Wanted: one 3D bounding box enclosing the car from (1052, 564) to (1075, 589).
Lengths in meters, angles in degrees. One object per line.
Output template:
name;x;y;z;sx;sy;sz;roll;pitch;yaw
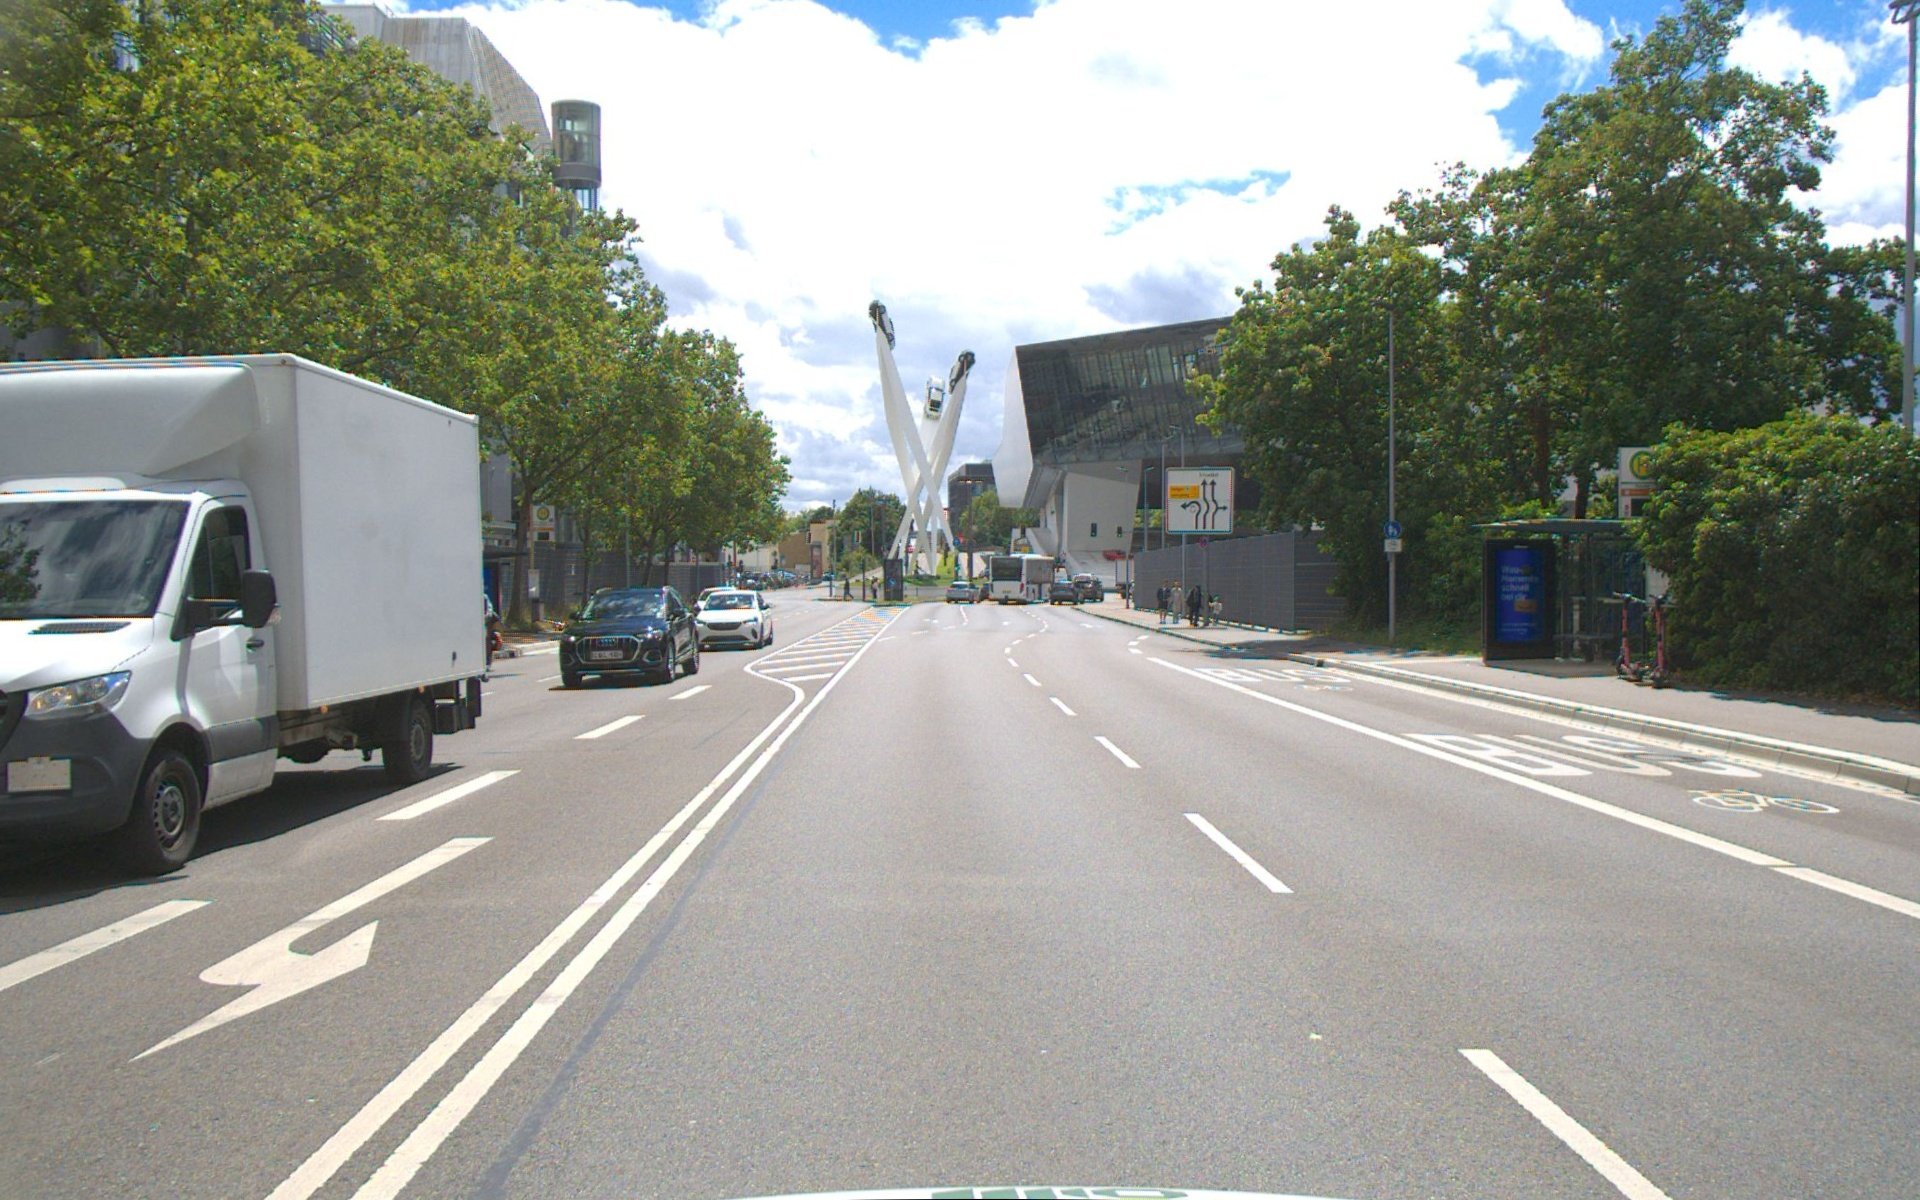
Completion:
car;9.622;-2.142;154.148;1.952;2.209;4.657;1;0;2

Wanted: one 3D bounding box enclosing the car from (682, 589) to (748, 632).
car;-9.523;0.372;64.556;1.839;1.532;4.191;-2;1;1

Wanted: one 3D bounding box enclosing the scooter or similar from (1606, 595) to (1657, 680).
scooter or similar;10.041;0.540;24.697;0.531;1.183;2.126;-1;0;26

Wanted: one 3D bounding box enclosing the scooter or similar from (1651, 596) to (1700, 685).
scooter or similar;10.119;0.556;23.360;0.531;1.183;1.790;-1;0;26

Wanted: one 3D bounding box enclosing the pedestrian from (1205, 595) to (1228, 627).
pedestrian;9.607;0.406;62.042;0.742;1.169;0.972;1;0;3

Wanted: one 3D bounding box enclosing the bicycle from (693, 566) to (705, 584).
bicycle;-14.766;-1.406;93.632;0.290;1.023;1.253;1;0;10

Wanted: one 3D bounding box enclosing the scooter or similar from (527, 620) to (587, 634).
scooter or similar;-13.812;0.913;56.723;1.337;0.386;1.485;4;1;35

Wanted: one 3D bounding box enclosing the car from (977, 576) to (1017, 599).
car;2.770;-0.930;123.997;1.952;1.665;4.002;1;0;18

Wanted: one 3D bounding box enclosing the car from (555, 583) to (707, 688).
car;-5.576;0.564;28.533;1.704;1.608;4.267;-2;0;0

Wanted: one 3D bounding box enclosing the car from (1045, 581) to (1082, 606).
car;7.108;-0.459;113.392;1.951;1.665;4.004;1;1;12

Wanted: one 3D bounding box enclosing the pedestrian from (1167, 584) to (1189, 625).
pedestrian;8.756;0.174;66.419;0.778;1.625;0.731;1;0;-1

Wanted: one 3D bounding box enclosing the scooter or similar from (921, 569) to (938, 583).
scooter or similar;-2.602;-2.071;141.277;1.374;1.043;0.549;-3;6;-9

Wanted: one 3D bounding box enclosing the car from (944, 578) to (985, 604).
car;0.325;-0.584;111.772;1.951;1.665;4.003;1;0;12

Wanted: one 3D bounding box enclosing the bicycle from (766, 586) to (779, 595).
bicycle;-20.892;-1.051;184.548;0.483;0.881;1.603;1;2;40

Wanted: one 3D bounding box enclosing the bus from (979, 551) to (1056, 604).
bus;4.152;-1.517;115.747;3.006;3.421;12.232;1;0;13

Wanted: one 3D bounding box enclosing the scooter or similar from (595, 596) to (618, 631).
scooter or similar;-13.245;0.501;61.951;0.512;1.256;1.318;3;1;1

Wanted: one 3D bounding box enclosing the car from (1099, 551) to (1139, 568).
car;18.761;-4.837;195.601;1.985;1.418;4.444;-6;11;-43

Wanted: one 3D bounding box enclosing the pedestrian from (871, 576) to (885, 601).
pedestrian;-5.991;-0.821;121.193;0.848;1.805;1.032;1;0;-14

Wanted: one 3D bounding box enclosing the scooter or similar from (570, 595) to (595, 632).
scooter or similar;-13.283;0.476;58.215;0.512;1.256;1.317;3;1;-1

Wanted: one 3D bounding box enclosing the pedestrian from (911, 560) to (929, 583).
pedestrian;-3.415;-2.409;141.029;1.259;1.847;0.984;-4;4;-10

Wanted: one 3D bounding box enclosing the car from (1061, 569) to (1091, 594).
car;9.655;-1.553;137.440;1.951;1.966;4.244;1;0;12

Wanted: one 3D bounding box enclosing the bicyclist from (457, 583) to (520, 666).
bicyclist;-9.677;0.491;33.964;0.937;1.625;1.222;-2;0;-3

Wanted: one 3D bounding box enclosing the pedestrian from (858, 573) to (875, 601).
pedestrian;-6.941;-0.956;122.771;0.932;2.091;0.951;1;0;18

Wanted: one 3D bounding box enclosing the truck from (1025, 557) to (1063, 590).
truck;7.013;-2.195;137.651;2.160;2.560;5.137;1;0;14

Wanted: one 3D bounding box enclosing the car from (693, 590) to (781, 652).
car;-5.644;0.494;42.306;1.657;1.439;4.145;-2;0;0

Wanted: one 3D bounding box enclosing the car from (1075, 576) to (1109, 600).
car;9.632;-0.840;120.719;1.951;1.665;4.003;1;0;12

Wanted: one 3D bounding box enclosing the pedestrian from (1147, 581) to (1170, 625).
pedestrian;7.967;0.134;66.411;0.778;1.751;0.731;1;0;-1

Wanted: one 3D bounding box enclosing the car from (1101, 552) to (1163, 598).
car;14.408;-2.008;137.804;3.265;3.565;9.345;1;0;18

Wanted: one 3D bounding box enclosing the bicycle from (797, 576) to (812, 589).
bicycle;-18.103;-2.018;192.595;1.573;1.407;0.492;1;0;-1

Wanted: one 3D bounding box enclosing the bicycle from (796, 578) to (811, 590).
bicycle;-18.080;-1.882;191.090;1.573;1.339;0.492;1;0;-1

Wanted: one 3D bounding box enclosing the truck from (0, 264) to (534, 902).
truck;-5.383;-0.075;11.943;2.401;3.183;7.245;-2;0;2

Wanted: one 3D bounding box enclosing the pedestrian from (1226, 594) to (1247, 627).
pedestrian;10.392;0.381;62.216;0.699;1.228;0.599;1;0;3

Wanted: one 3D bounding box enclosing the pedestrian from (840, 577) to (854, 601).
pedestrian;-8.447;-0.811;123.828;0.848;1.805;1.032;1;0;-14

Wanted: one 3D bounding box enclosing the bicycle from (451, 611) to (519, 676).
bicycle;-9.677;0.859;33.793;0.721;1.256;2.473;-2;0;-2

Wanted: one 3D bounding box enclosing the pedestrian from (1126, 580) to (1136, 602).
pedestrian;12.483;-0.655;120.975;0.645;1.636;0.823;1;0;11
